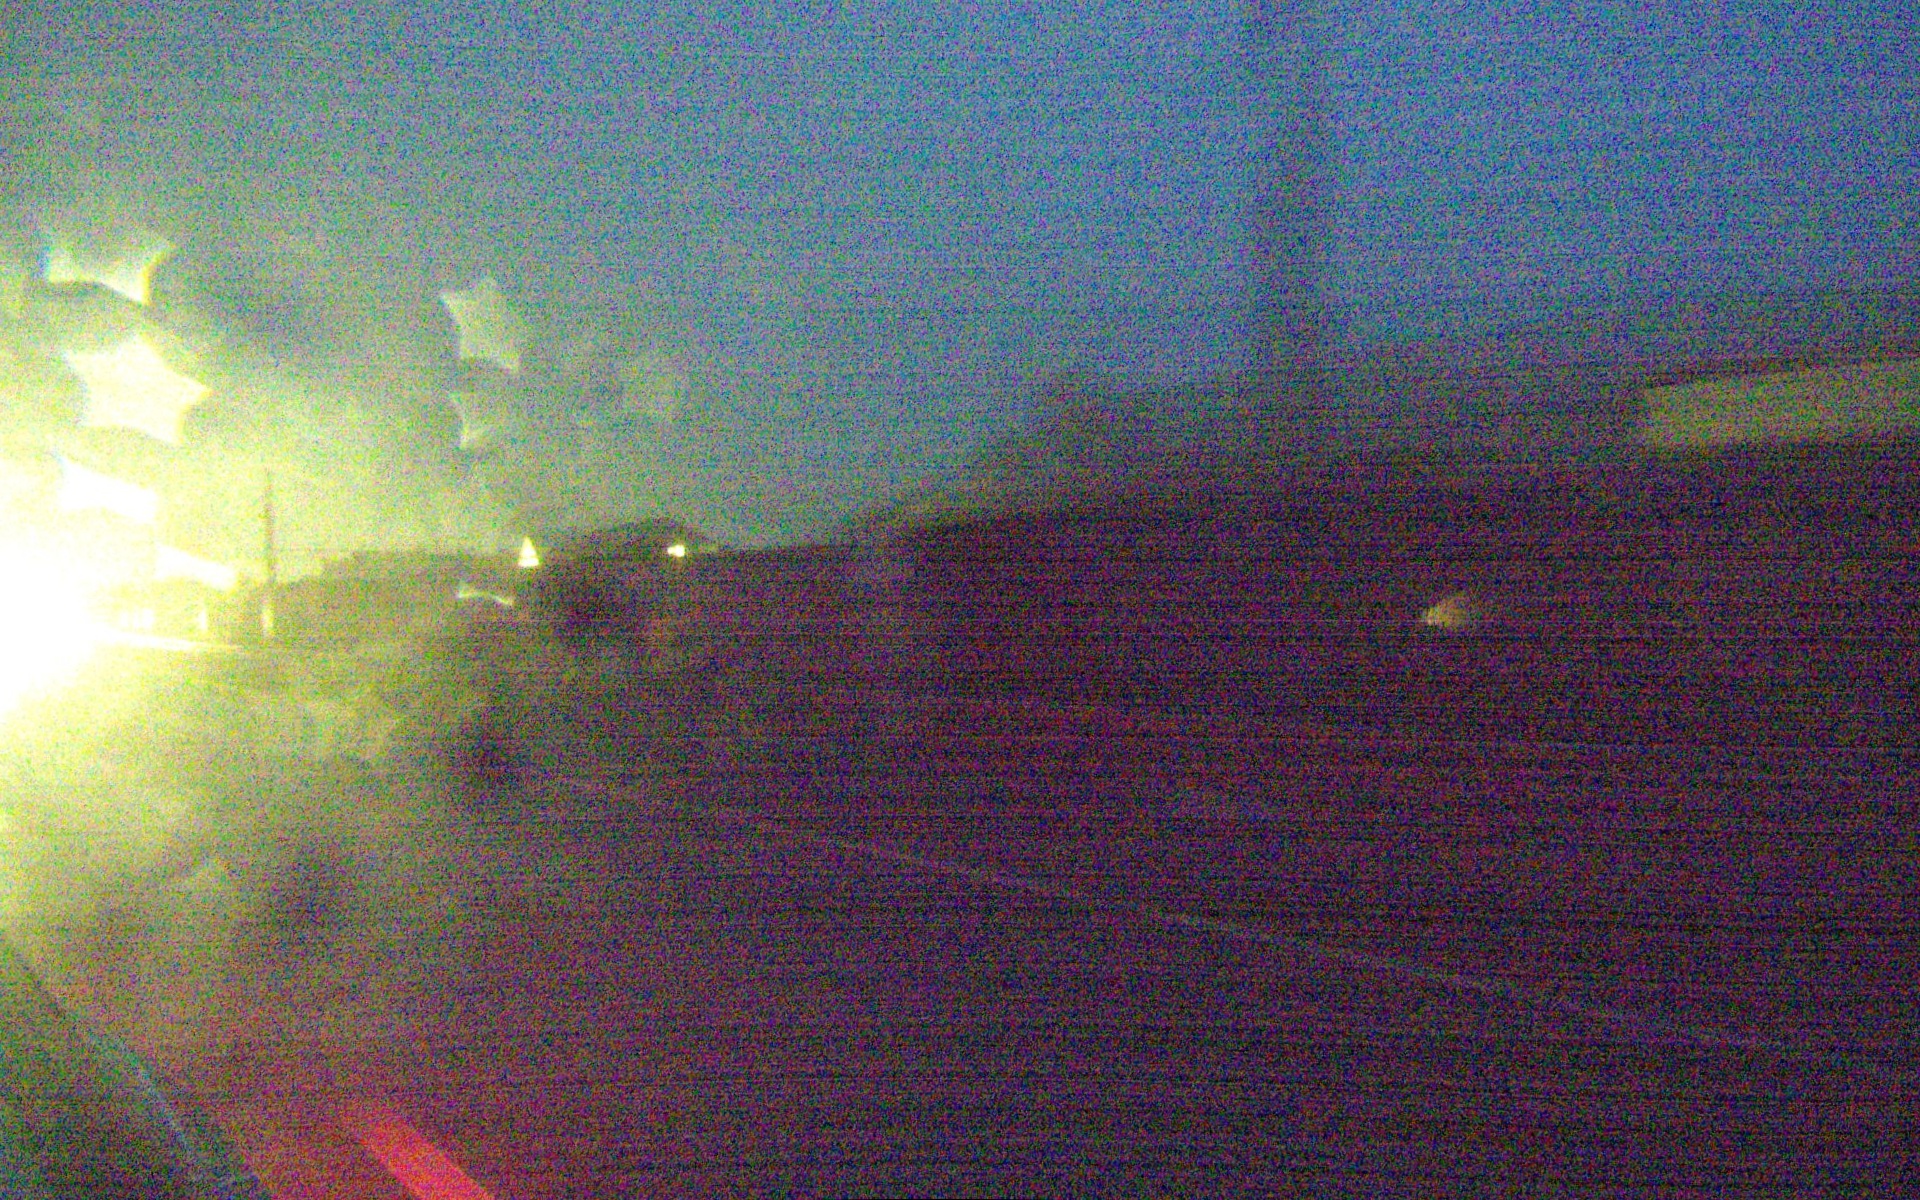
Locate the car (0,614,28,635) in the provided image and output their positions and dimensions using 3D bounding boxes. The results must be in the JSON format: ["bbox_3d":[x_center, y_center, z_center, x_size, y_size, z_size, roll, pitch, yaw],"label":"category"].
[{"bbox_3d":[-74.248,1.912,79.237,1.898,1.658,4.030,1,-2,-43],"label":"car"}]

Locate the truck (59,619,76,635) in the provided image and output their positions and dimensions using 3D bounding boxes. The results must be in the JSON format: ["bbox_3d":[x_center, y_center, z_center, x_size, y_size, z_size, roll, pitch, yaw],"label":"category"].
[{"bbox_3d":[-148.303,4.535,168.115,2.111,2.554,5.285,0,-1,-42],"label":"truck"}]
